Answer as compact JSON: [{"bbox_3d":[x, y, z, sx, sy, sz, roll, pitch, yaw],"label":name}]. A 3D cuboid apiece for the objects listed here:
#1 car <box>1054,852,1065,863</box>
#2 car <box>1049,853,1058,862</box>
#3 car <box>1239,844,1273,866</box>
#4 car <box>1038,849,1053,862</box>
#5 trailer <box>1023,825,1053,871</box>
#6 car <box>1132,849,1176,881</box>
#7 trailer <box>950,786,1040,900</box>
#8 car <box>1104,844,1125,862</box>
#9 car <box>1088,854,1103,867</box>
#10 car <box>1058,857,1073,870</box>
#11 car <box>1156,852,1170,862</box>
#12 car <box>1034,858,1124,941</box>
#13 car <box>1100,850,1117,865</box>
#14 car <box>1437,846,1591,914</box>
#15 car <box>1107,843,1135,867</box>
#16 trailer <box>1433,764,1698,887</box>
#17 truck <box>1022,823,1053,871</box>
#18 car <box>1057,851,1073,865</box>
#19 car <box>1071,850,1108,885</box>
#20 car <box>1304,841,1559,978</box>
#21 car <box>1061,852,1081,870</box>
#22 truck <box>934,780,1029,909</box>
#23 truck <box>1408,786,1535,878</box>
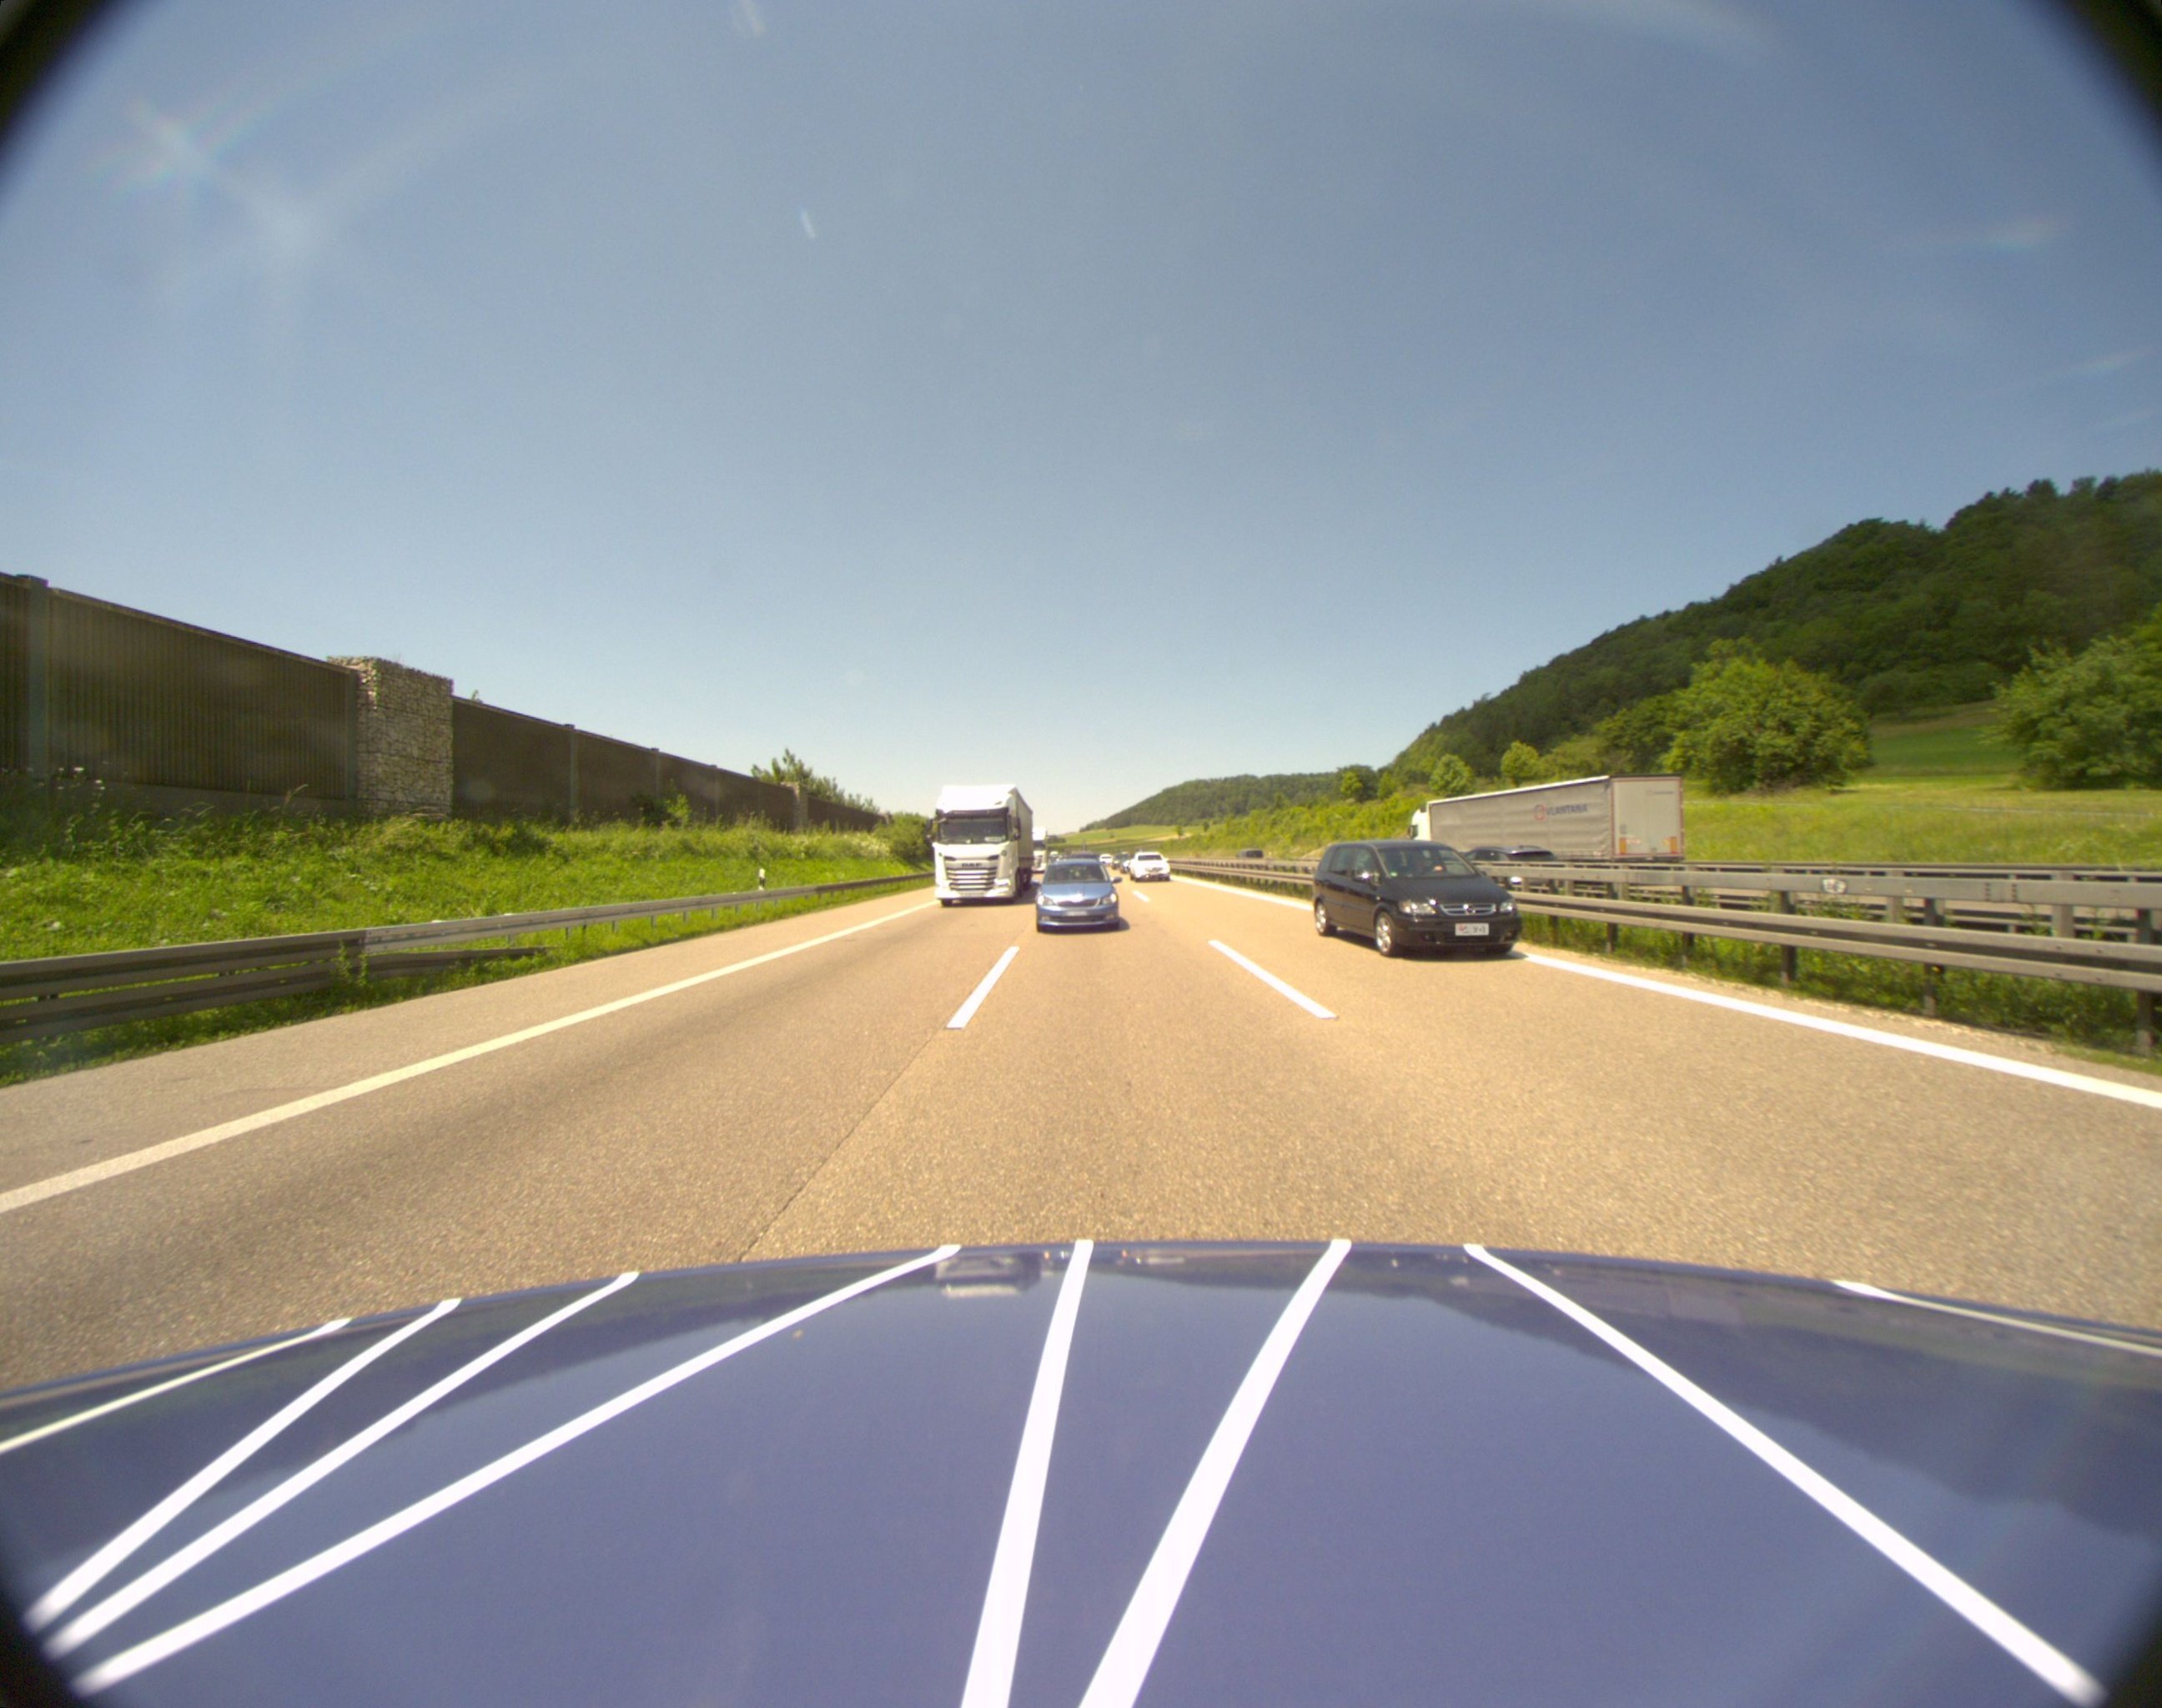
[{"bbox_3d":[-4.152,0.694,145.770,1.999,2.002,3.999,-2,1,-2],"label":"car"},{"bbox_3d":[-6.356,0.857,176.281,1.999,2.002,3.999,-2,1,-2],"label":"car"},{"bbox_3d":[15.610,0.055,67.961,1.998,1.842,4.406,-2,0,1],"label":"car"},{"bbox_3d":[-5.099,0.228,109.188,1.999,1.702,3.999,-2,1,-2],"label":"car"},{"bbox_3d":[-4.273,-0.616,75.078,2.545,4.085,13.622,-2,1,-3],"label":"trailer"},{"bbox_3d":[3.953,0.558,41.758,1.998,1.612,3.999,-2,1,0],"label":"car"},{"bbox_3d":[-3.412,-0.418,33.681,2.484,3.954,13.653,-1,0,-1],"label":"trailer"},{"bbox_3d":[3.286,-0.136,75.495,1.998,1.702,4.000,-2,1,2],"label":"car"},{"bbox_3d":[2.051,0.901,104.418,1.998,1.702,4.000,-2,1,2],"label":"car"},{"bbox_3d":[-2.270,1.317,107.840,1.999,1.702,3.999,-2,1,-2],"label":"car"},{"bbox_3d":[14.105,0.530,131.012,1.854,1.600,4.078,-1,0,0],"label":"car"},{"bbox_3d":[-0.110,0.862,16.642,1.660,1.481,4.652,-1,0,-2],"label":"car"},{"bbox_3d":[3.412,0.424,94.080,1.998,1.702,4.000,-2,1,2],"label":"car"},{"bbox_3d":[12.096,0.659,21.609,1.851,1.699,4.282,-2,0,-1],"label":"car"},{"bbox_3d":[3.123,0.054,59.847,1.998,1.692,4.000,-2,1,2],"label":"car"},{"bbox_3d":[19.948,-1.081,33.131,2.862,4.167,13.613,-2,1,0],"label":"trailer"},{"bbox_3d":[-3.975,-0.668,69.257,2.532,4.065,6.077,-2,1,-3],"label":"truck"},{"bbox_3d":[-2.114,0.483,99.162,1.999,1.702,3.999,-2,1,-2],"label":"car"},{"bbox_3d":[0.435,0.635,38.442,1.737,1.674,4.197,-1,0,0],"label":"car"},{"bbox_3d":[4.893,0.661,11.421,1.805,1.625,4.446,-1,0,1],"label":"car"},{"bbox_3d":[-1.055,0.686,79.094,1.999,1.702,3.999,-2,1,-2],"label":"car"},{"bbox_3d":[-3.305,-0.312,26.824,2.484,3.954,6.380,-1,0,-1],"label":"truck"},{"bbox_3d":[19.956,-1.084,39.388,2.805,4.208,7.230,-2,1,0],"label":"truck"}]
